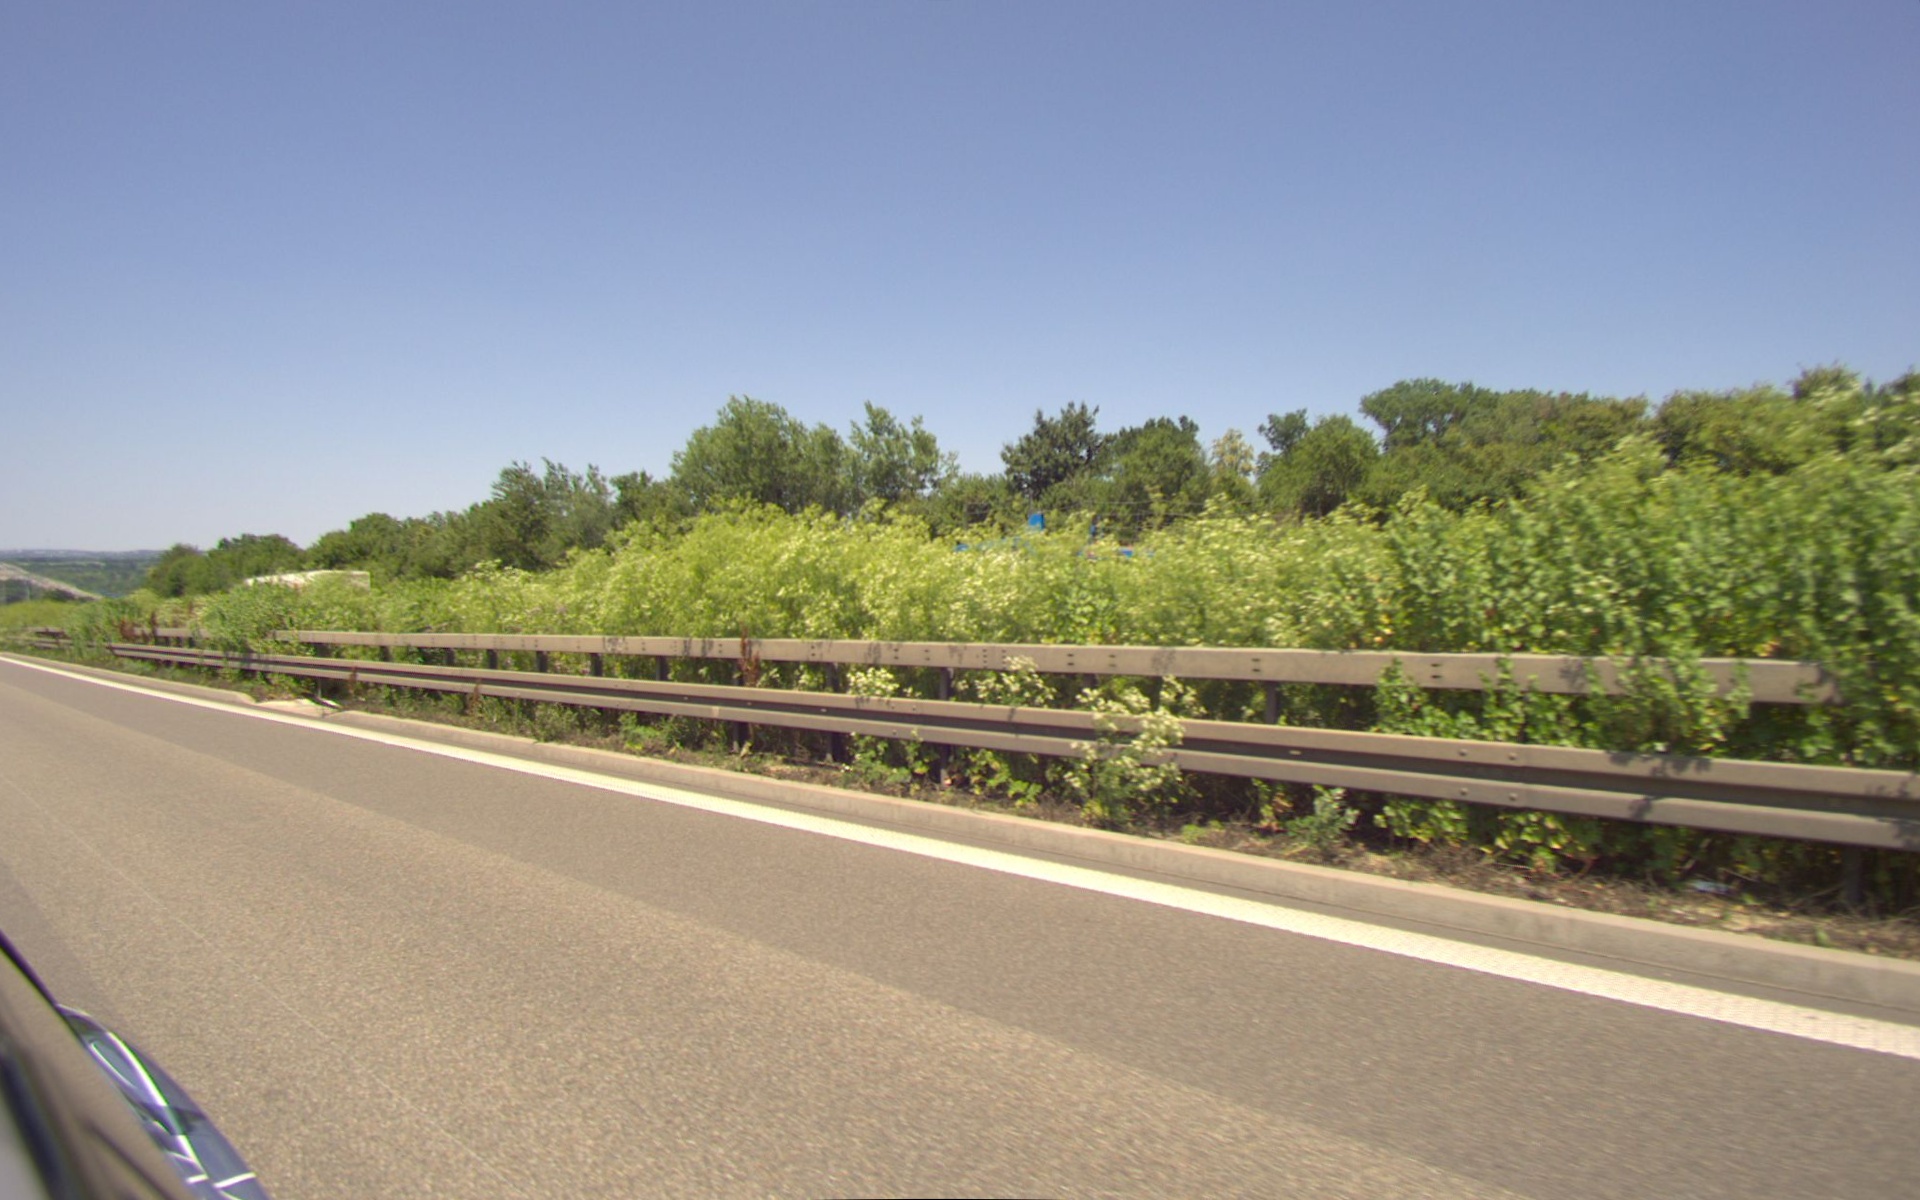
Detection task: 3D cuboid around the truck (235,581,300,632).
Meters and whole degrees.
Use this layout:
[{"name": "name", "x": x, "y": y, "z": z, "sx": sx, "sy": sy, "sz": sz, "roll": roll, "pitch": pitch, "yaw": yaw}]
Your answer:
[{"name": "truck", "x": -47.169, "y": 0.467, "z": 68.865, "sx": 5.044, "sy": 3.376, "sz": 2.569, "roll": -1, "pitch": -1, "yaw": 42}]

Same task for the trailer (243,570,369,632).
[{"name": "trailer", "x": -41.346, "y": 0.197, "z": 63.569, "sx": 15.825, "sy": 3.469, "sz": 2.570, "roll": -1, "pitch": -1, "yaw": 42}]

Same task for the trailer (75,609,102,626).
[{"name": "trailer", "x": -144.065, "y": 2.965, "z": 167.235, "sx": 2.537, "sy": 2.730, "sz": 11.413, "roll": 0, "pitch": -1, "yaw": -45}]
